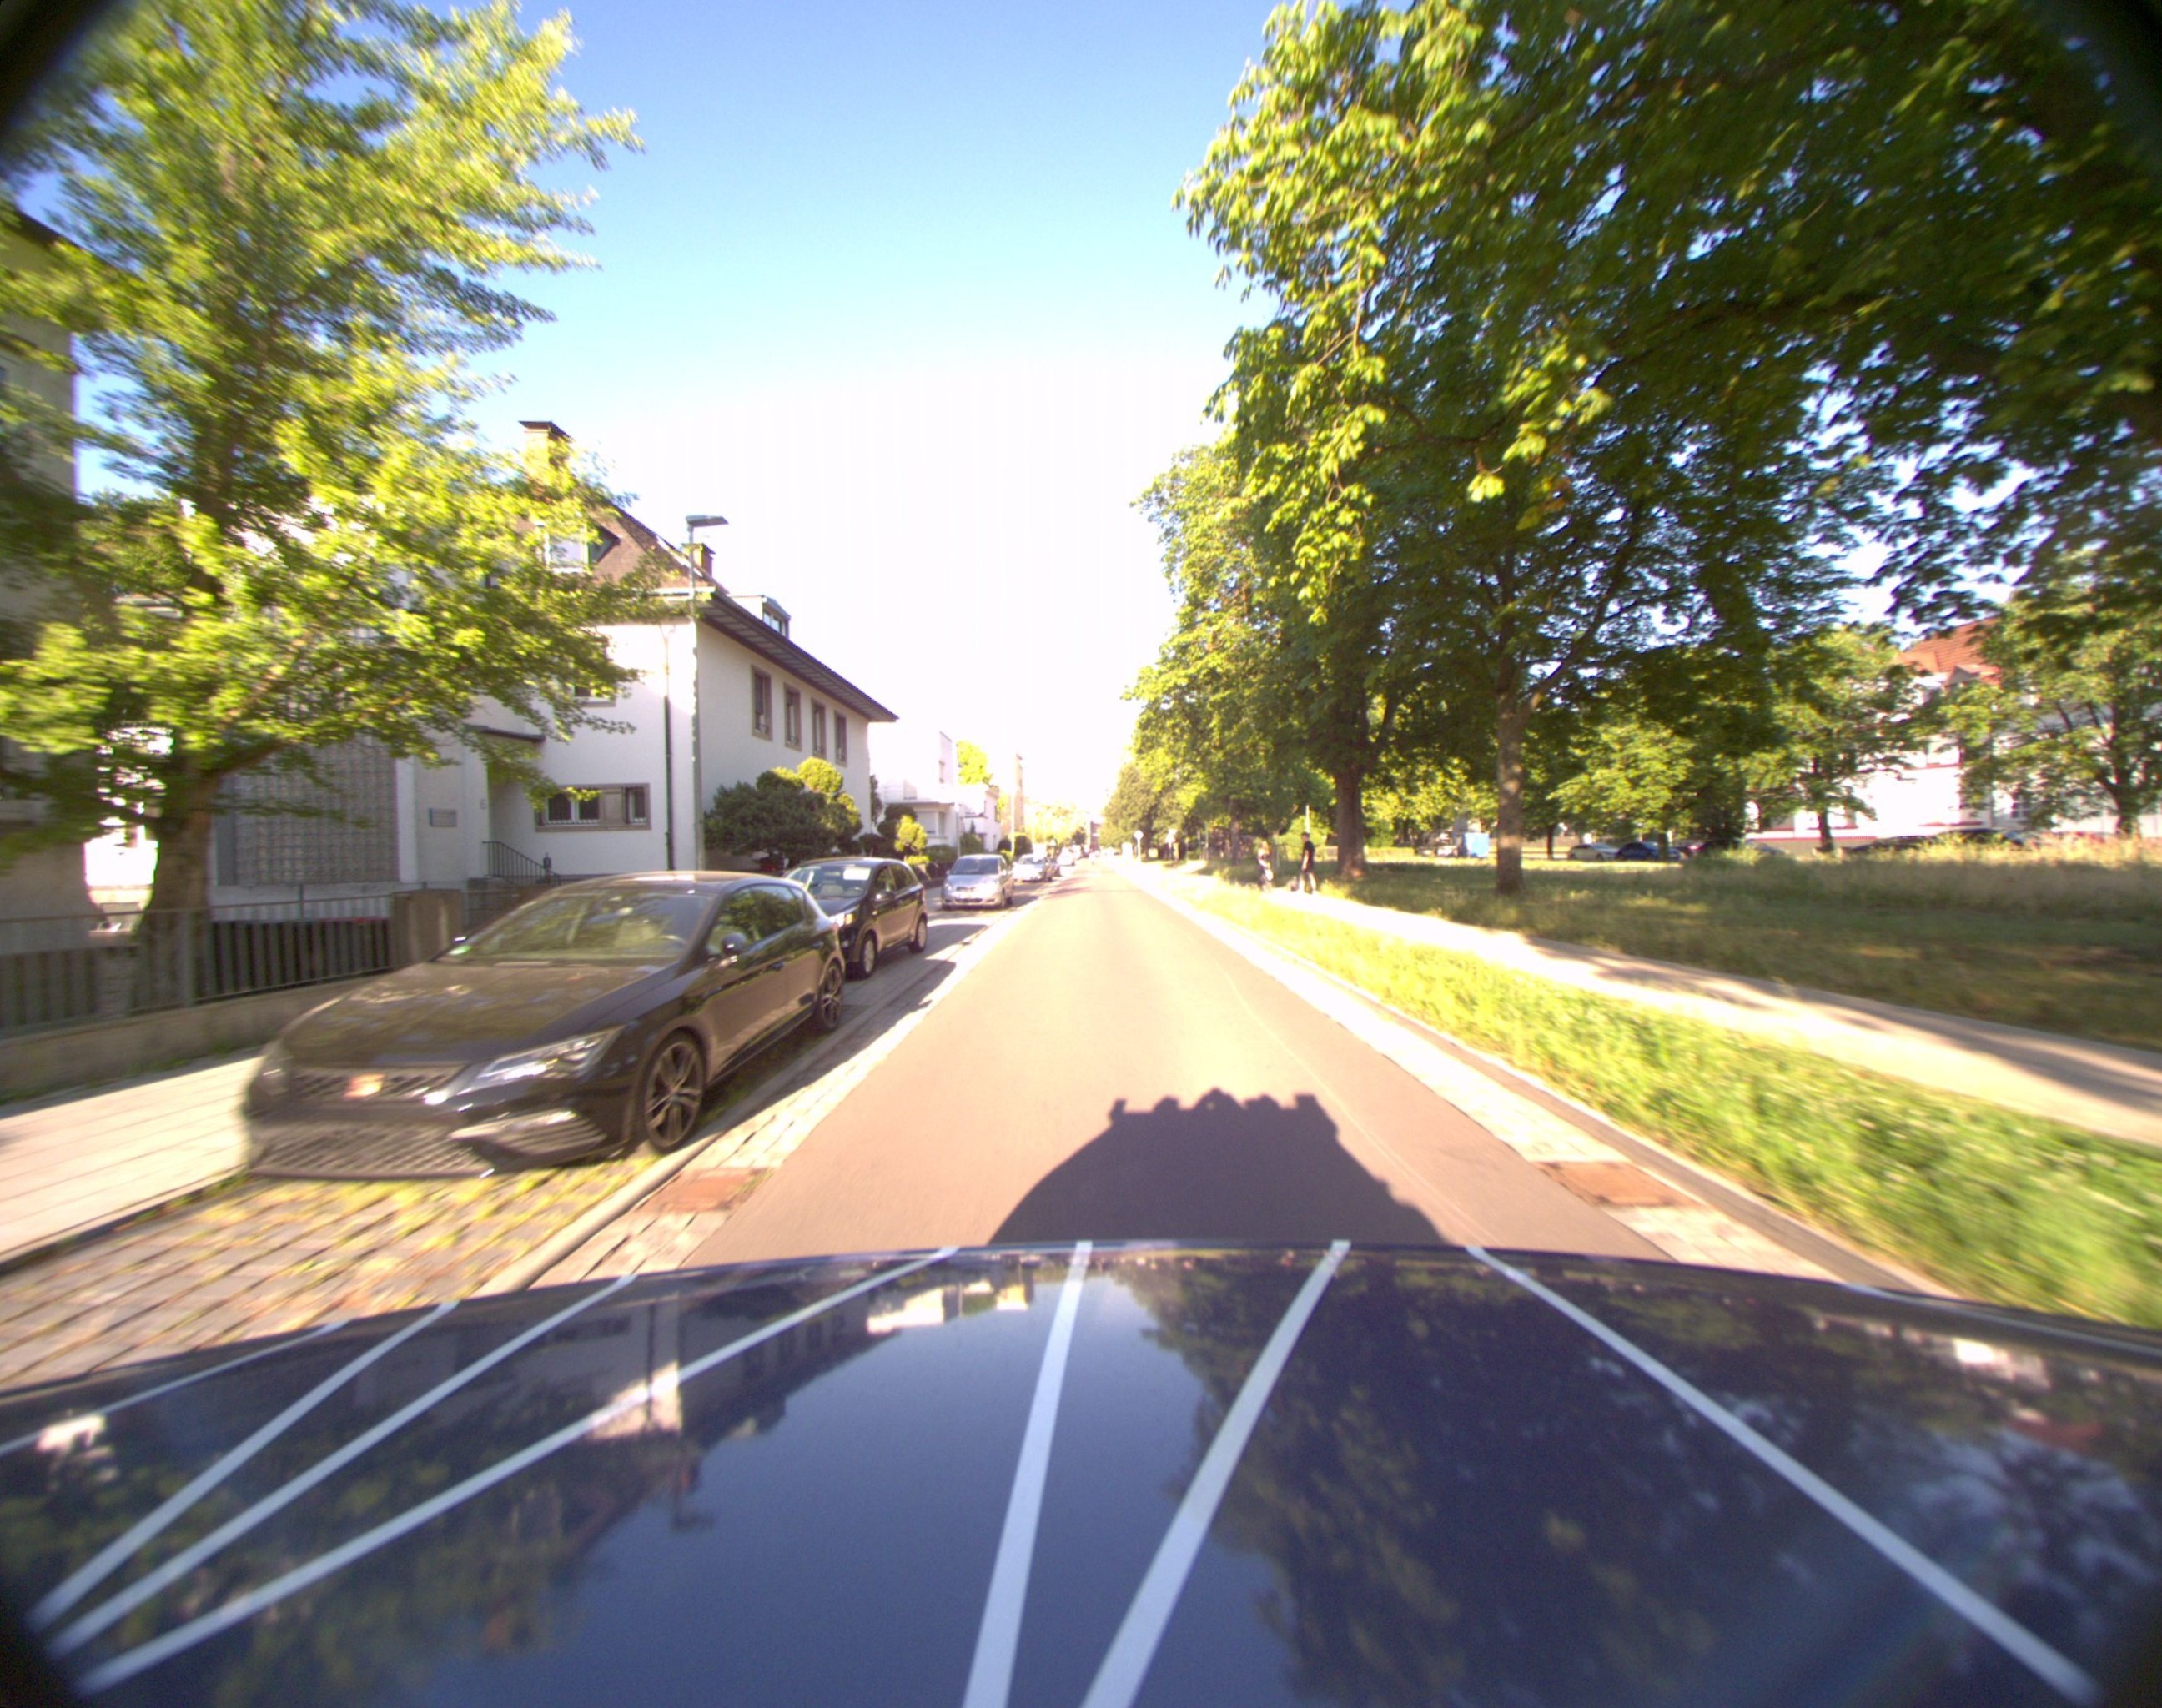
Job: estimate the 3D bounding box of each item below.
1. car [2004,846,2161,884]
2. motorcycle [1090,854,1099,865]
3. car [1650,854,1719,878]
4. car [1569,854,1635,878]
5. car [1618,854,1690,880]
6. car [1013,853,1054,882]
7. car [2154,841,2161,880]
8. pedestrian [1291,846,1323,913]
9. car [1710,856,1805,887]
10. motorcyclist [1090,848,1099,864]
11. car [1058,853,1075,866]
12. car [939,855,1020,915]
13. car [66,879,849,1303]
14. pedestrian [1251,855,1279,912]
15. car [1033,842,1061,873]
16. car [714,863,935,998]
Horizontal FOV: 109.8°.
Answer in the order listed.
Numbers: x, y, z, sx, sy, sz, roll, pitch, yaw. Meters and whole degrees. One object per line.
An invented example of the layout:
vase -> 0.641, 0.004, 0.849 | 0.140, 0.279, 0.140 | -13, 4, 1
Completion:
car -> 42.763, 0.410, 32.586 | 1.767, 1.471, 3.795 | -2, 1, 0
motorcycle -> 1.700, 0.729, 98.458 | 1.077, 1.373, 2.463 | -2, 1, 0
car -> 43.338, 0.814, 54.687 | 1.766, 1.619, 4.000 | -2, 0, 1
car -> 38.262, 0.864, 55.923 | 1.873, 1.619, 4.426 | -2, 0, 1
car -> 38.150, 0.856, 50.736 | 1.766, 1.619, 4.000 | -2, 0, 1
car -> -2.530, 0.696, 41.130 | 1.844, 1.471, 3.764 | -1, 0, 2
car -> 42.831, 0.244, 27.812 | 1.767, 1.471, 3.795 | -2, 1, 0
pedestrian -> 6.340, 0.709, 21.310 | 0.625, 1.841, 0.606 | -1, 2, 40
car -> 37.981, 0.933, 42.778 | 1.766, 1.619, 4.000 | -2, 0, 1
motorcyclist -> 1.735, 0.260, 98.454 | 0.961, 2.002, 1.274 | -2, 1, 0
car -> -1.705, 0.624, 88.808 | 1.844, 1.471, 3.763 | -1, 0, 0
car -> -2.802, 0.800, 21.716 | 1.665, 1.526, 3.833 | 0, 0, 2
car -> -3.031, 0.988, 4.974 | 1.745, 1.471, 4.056 | -1, 0, 0
pedestrian -> 5.333, 0.849, 22.010 | 0.625, 1.621, 0.606 | -2, 1, 27
car -> -2.573, 0.268, 58.187 | 1.844, 2.196, 3.764 | -1, 0, 2
car -> -3.317, 0.906, 10.637 | 1.665, 1.471, 3.764 | -1, 0, 2
